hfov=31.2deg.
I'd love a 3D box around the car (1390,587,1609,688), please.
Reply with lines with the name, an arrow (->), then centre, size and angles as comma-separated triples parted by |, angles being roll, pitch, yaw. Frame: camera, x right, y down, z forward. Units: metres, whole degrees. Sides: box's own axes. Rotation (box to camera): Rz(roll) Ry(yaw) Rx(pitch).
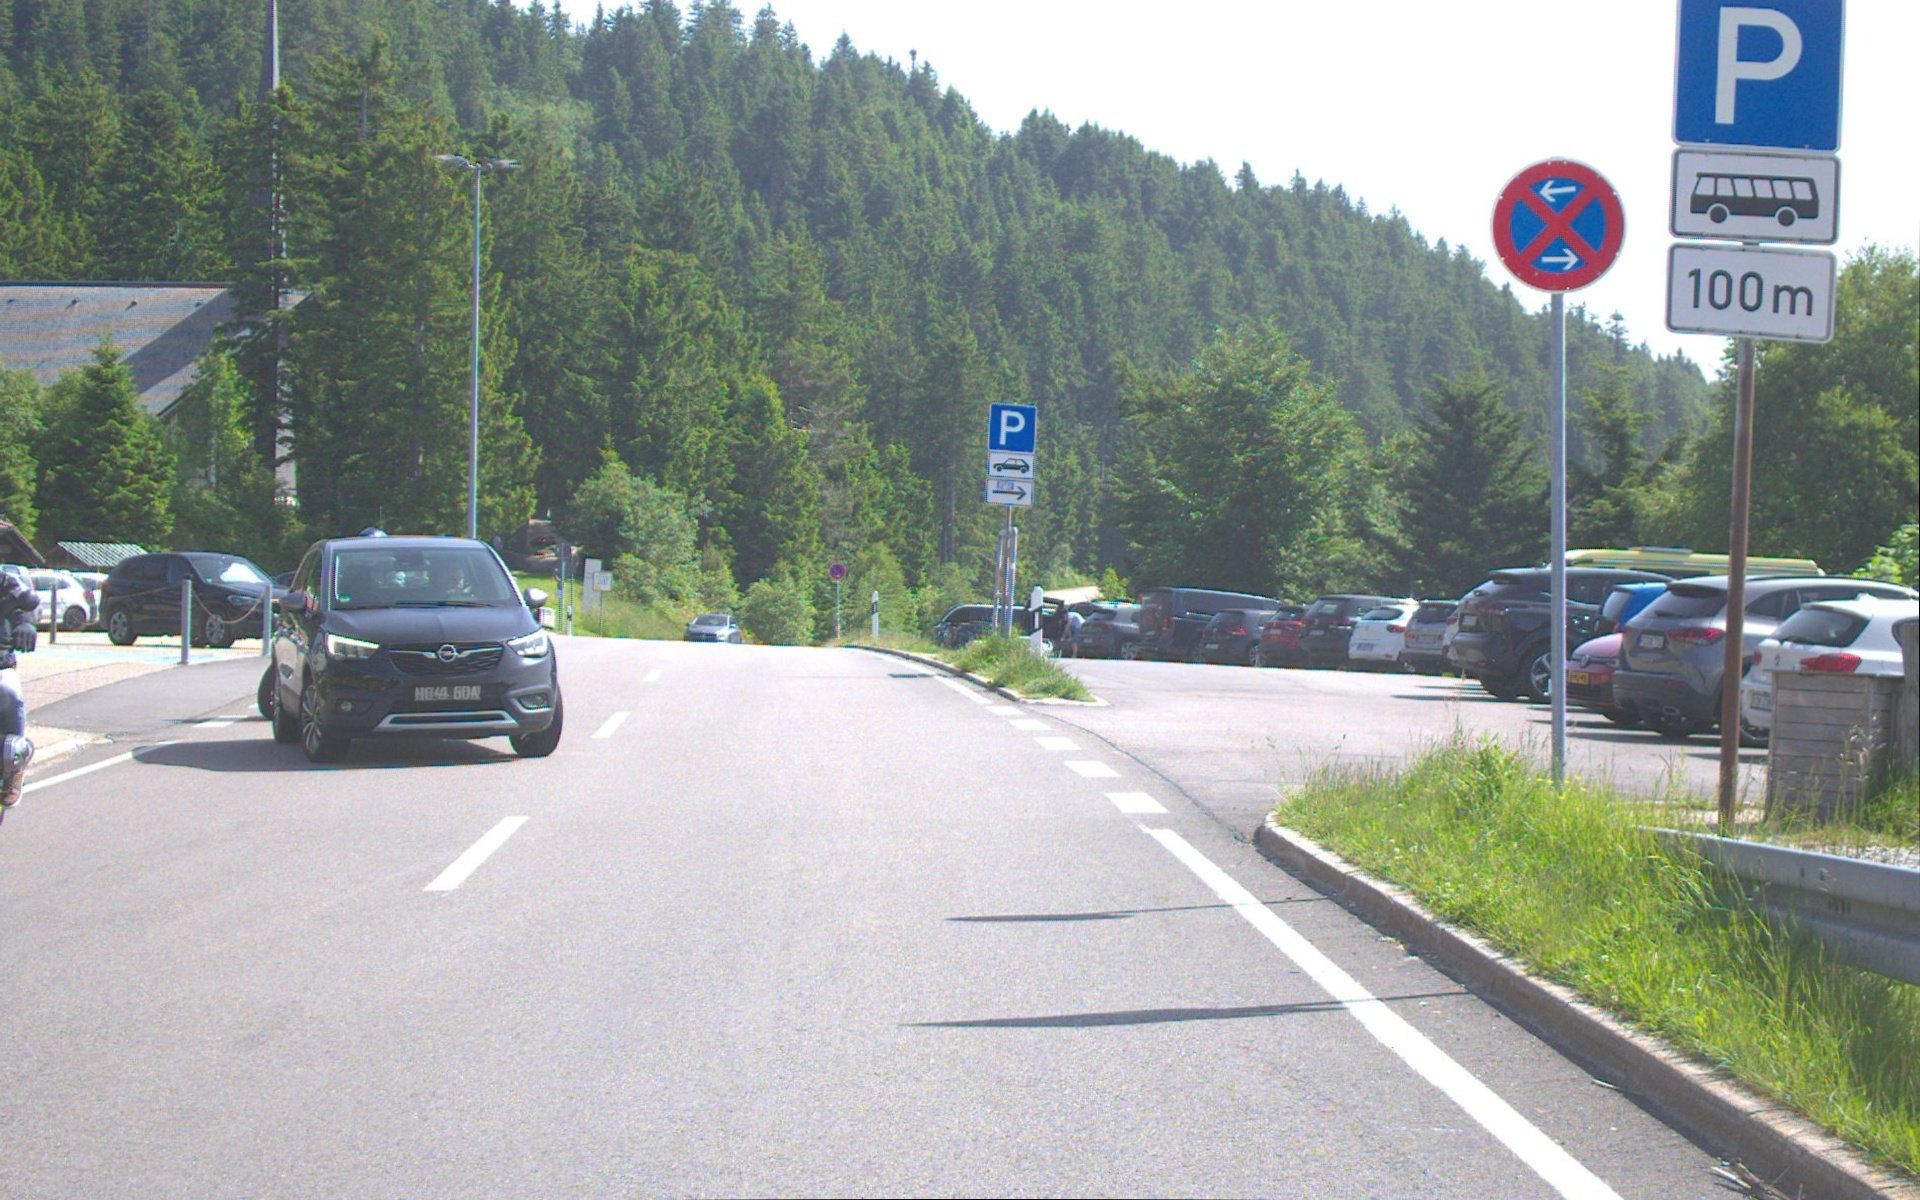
car -> 10.587, 0.742, 67.300 | 4.214, 1.689, 1.863 | 4, -1, -41

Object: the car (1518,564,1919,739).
car -> 7.889, 0.516, 34.655 | 3.986, 1.504, 1.843 | 3, 1, -13

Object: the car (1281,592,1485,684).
car -> 9.267, 0.839, 75.198 | 4.260, 1.689, 1.990 | 5, -1, -41

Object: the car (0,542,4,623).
car -> -22.176, -0.388, 71.561 | 3.989, 1.698, 1.825 | 0, 1, -43

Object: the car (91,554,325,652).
car -> -12.542, 0.030, 57.213 | 4.190, 1.535, 1.803 | 1, 1, 45

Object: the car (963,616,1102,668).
car -> 2.512, 1.458, 119.739 | 4.452, 1.294, 1.583 | 7, -1, -19

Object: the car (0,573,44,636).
car -> -22.250, 0.088, 75.036 | 3.989, 1.366, 1.811 | 0, 1, -42

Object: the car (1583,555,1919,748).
car -> 8.222, 0.514, 31.706 | 4.395, 1.563, 1.908 | 3, 1, -14

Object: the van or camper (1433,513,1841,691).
van or camper -> 9.190, 0.020, 46.992 | 5.090, 2.007, 1.882 | 4, 1, 1

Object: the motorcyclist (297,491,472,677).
motorcyclist -> -5.193, -0.150, 31.024 | 1.295, 1.636, 0.881 | 0, 1, -39

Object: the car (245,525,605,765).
car -> -4.040, 0.280, 25.389 | 1.979, 1.611, 4.151 | 0, 1, -18

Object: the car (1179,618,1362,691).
car -> 7.369, 1.288, 81.507 | 3.986, 1.410, 1.745 | 5, -1, -30

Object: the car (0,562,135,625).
car -> -24.586, -0.171, 93.182 | 1.775, 1.666, 4.021 | -1, 0, 41

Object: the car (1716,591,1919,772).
car -> 8.580, 0.745, 28.793 | 3.986, 1.381, 1.658 | 4, 0, -13

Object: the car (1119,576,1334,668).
car -> 6.545, 0.534, 84.364 | 4.756, 1.873, 1.967 | 5, -1, -22

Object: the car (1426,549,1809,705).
car -> 7.769, 0.307, 40.830 | 3.986, 1.608, 1.917 | 3, 0, -8

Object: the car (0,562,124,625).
car -> -23.436, -0.174, 87.024 | 1.998, 1.568, 3.990 | 1, 0, 42

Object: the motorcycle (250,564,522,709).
motorcycle -> -5.159, 0.305, 30.985 | 2.320, 1.261, 0.813 | 0, 1, -39

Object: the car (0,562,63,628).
car -> -23.283, -0.132, 80.493 | 1.898, 1.539, 3.990 | 1, 1, 43

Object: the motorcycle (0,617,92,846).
motorcycle -> -5.095, 0.650, 17.459 | 0.839, 1.092, 2.183 | -1, 0, -1

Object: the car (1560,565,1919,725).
car -> 8.680, 0.482, 38.277 | 3.580, 1.490, 1.648 | 4, 1, -2

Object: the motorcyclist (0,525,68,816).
motorcyclist -> -5.086, 0.350, 17.467 | 0.839, 1.436, 1.005 | -1, 0, -1

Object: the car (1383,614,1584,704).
car -> 10.725, 1.211, 70.364 | 3.988, 1.544, 1.820 | 5, -1, -41

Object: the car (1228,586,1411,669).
car -> 8.289, 0.635, 79.014 | 3.988, 1.584, 1.863 | 5, -1, -41

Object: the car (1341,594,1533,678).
car -> 10.166, 0.774, 73.104 | 3.988, 1.471, 1.767 | 5, -1, -41

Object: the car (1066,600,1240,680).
car -> 5.101, 1.059, 90.748 | 3.986, 1.656, 2.000 | 7, -3, -30

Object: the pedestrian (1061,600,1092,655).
pedestrian -> 3.026, 0.699, 88.985 | 0.773, 1.398, 0.669 | 1, 1, 3

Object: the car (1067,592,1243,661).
car -> 4.981, 0.680, 87.622 | 3.986, 1.438, 1.840 | 5, -1, -24

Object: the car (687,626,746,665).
car -> -9.604, 1.777, 135.768 | 1.580, 1.424, 3.370 | 1, 1, 9
